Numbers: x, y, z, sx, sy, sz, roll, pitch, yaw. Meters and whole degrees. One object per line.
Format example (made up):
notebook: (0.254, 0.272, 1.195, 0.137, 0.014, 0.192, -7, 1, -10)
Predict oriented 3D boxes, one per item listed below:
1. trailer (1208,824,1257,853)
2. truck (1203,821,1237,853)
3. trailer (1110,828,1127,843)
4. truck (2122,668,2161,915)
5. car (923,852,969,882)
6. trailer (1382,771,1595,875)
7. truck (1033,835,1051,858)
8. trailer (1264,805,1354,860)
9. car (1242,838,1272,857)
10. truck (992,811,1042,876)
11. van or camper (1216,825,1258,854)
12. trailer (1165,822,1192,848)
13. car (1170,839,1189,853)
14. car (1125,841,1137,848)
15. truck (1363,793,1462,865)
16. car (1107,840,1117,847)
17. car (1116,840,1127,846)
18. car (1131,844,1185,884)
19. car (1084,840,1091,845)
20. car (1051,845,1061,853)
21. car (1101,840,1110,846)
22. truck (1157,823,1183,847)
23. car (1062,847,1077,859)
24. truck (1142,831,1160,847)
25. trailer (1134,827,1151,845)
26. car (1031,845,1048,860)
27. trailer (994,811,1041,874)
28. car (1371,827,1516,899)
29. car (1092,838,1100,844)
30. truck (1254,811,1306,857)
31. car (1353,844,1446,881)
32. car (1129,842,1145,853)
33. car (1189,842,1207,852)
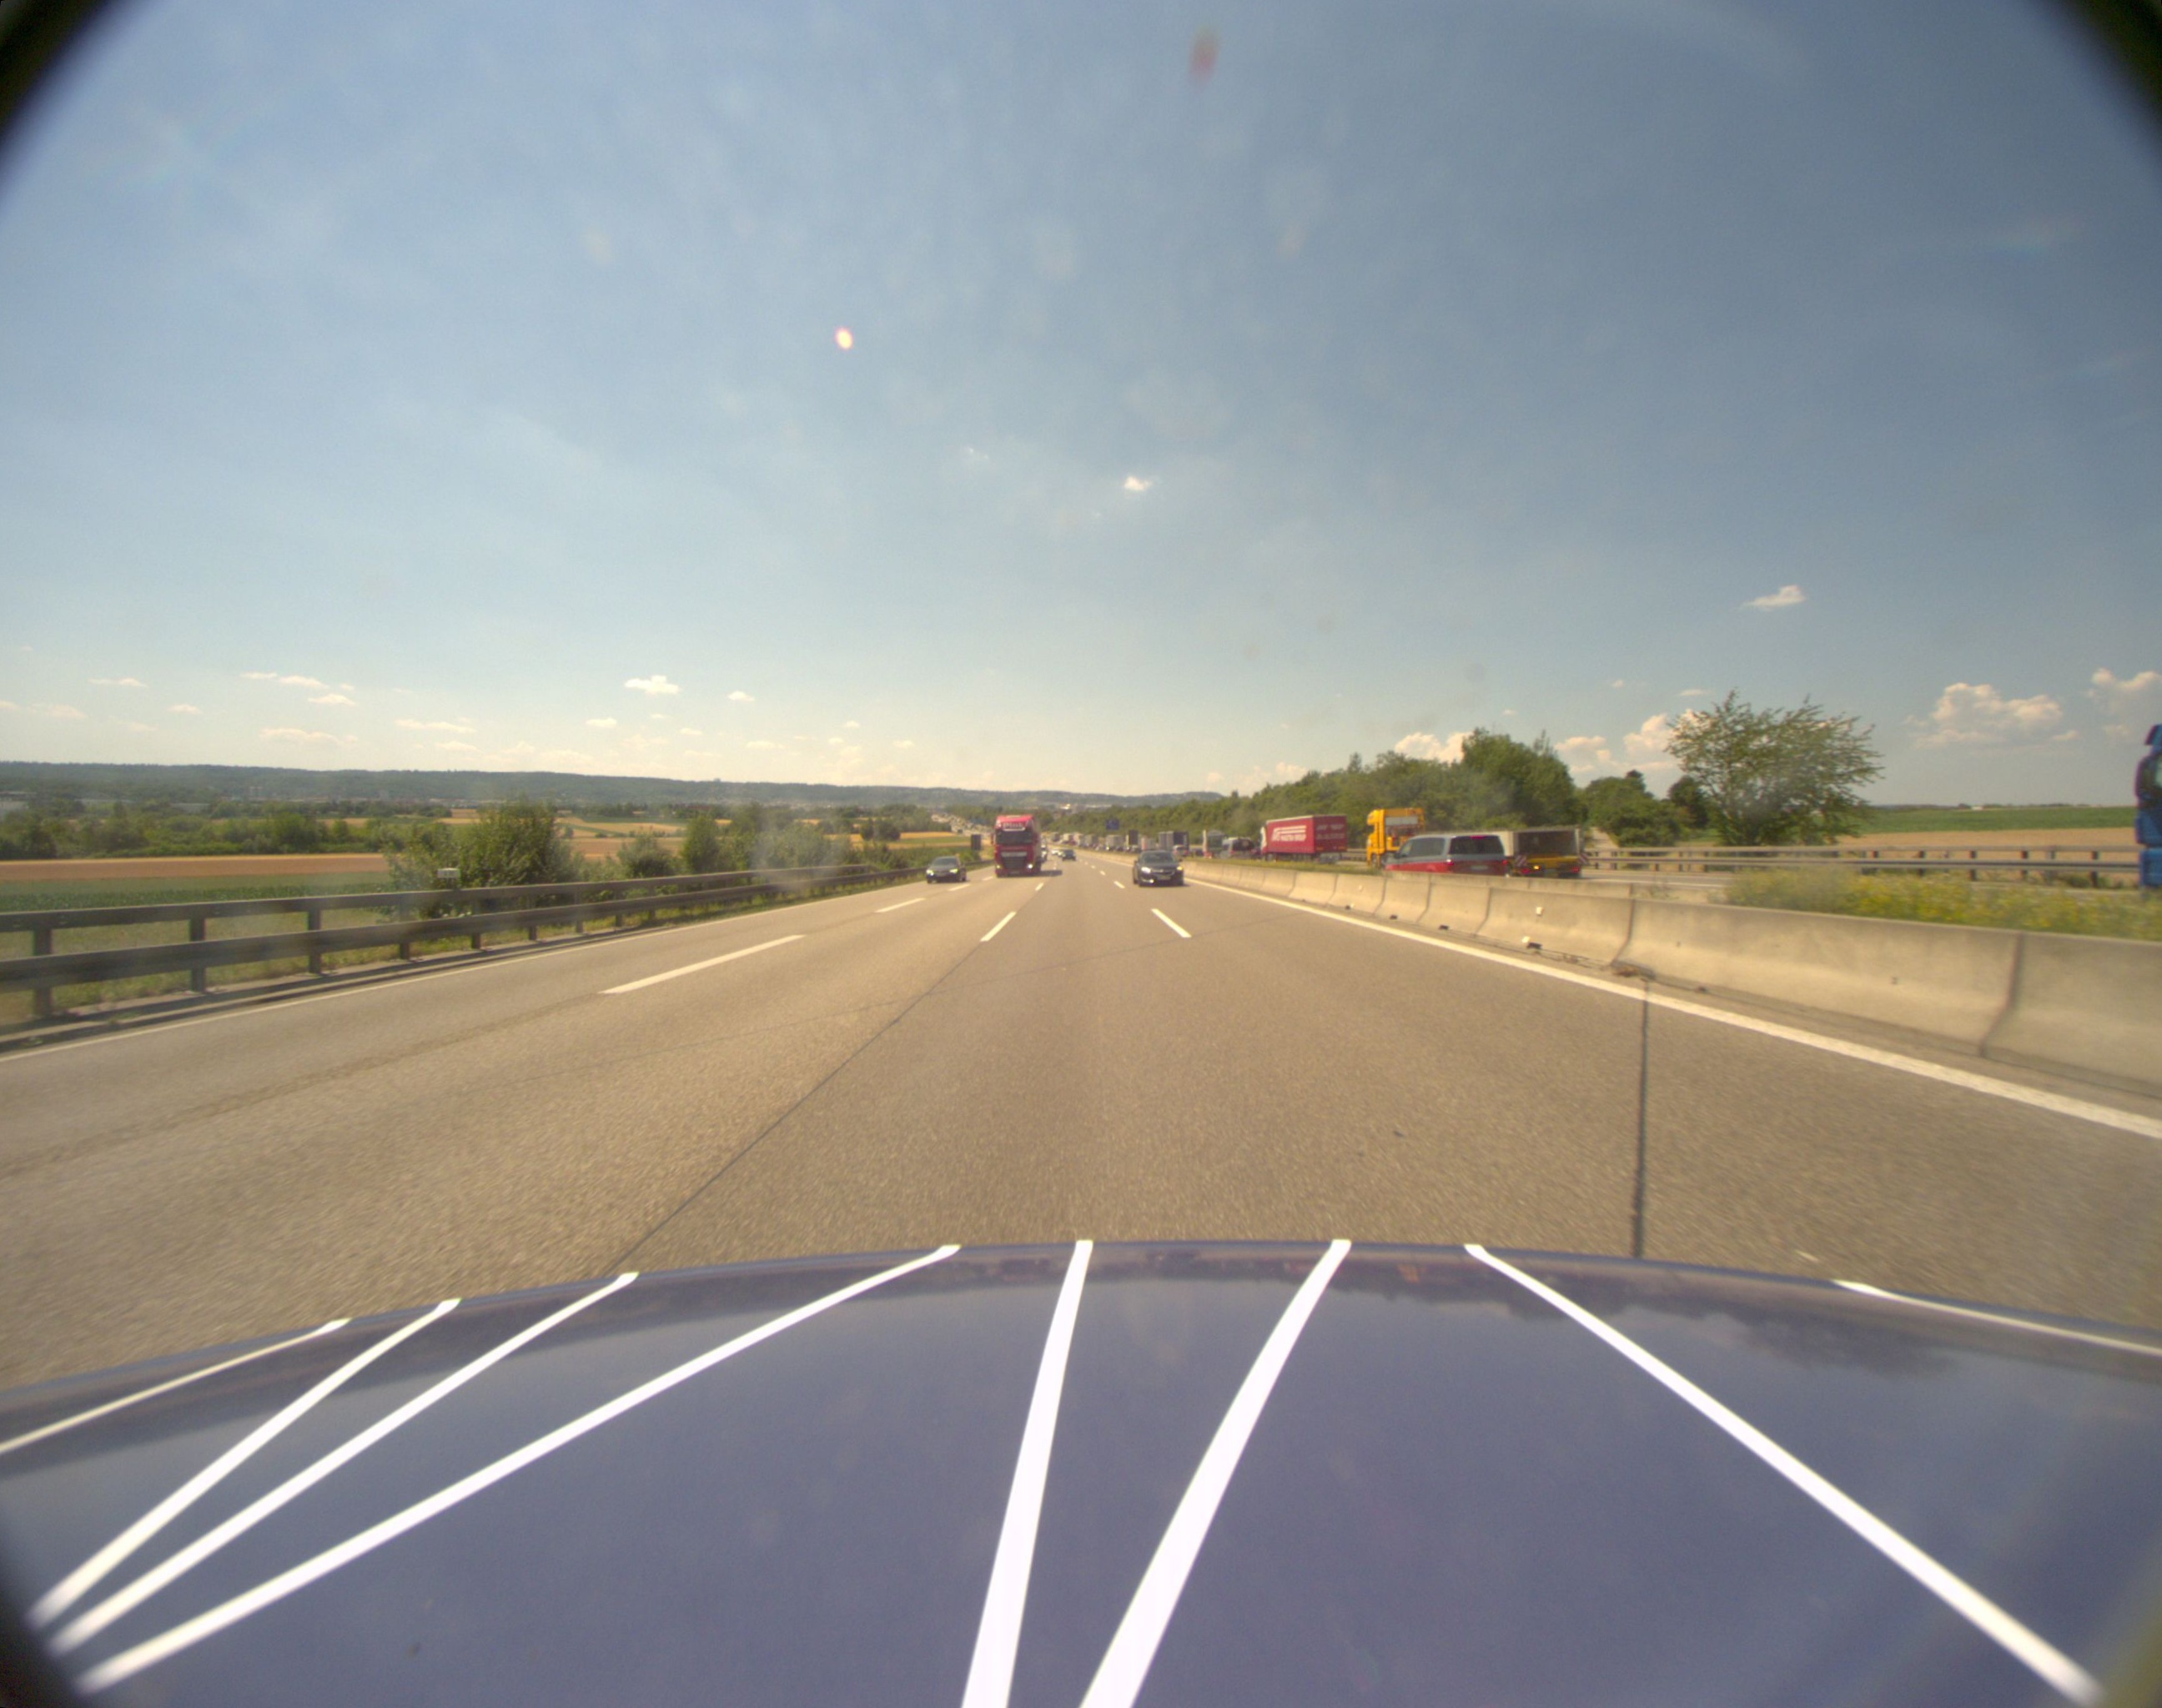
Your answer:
trailer: (18.106, -1.877, 91.749, 2.866, 3.188, 12.777, -2, 1, -2)
truck: (17.907, -2.222, 98.436, 2.909, 3.855, 6.175, -2, 1, -2)
trailer: (10.812, -5.416, 220.814, 2.911, 4.063, 14.434, -2, 2, -4)
truck: (19.355, -1.030, 9.557, 3.083, 4.067, 6.934, -2, 1, 1)
car: (-7.570, 0.691, 42.987, 2.037, 1.543, 3.998, -2, 1, -3)
trailer: (19.297, -1.342, 37.851, 2.960, 4.077, 14.379, -2, 1, 1)
truck: (-5.822, -1.179, 113.220, 2.446, 3.012, 6.910, -2, 3, -4)
trailer: (18.896, -1.744, 64.348, 3.094, 4.077, 14.377, -2, 1, 0)
car: (18.570, -0.710, 80.249, 1.843, 1.622, 4.601, -2, 3, -3)
truck: (-4.178, -0.752, 50.764, 2.924, 3.986, 6.506, -2, 2, -3)
van or camper: (14.625, -1.371, 71.794, 2.317, 2.572, 7.140, -2, 1, -1)
trailer: (16.474, -3.200, 128.892, 2.994, 4.169, 8.591, -2, 1, -2)
car: (13.906, -1.161, 107.533, 1.918, 1.762, 4.760, -2, 1, -3)
car: (10.935, -2.015, 167.286, 1.999, 1.447, 5.167, -2, 1, -3)
truck: (19.435, -1.397, 45.116, 2.757, 3.815, 7.097, -2, 1, 1)
car: (6.974, -2.384, 171.154, 1.843, 1.574, 4.552, -2, 1, -3)
car: (9.820, -2.713, 185.240, 1.999, 1.519, 4.770, -2, 2, -3)
car: (3.216, 0.375, 32.570, 1.807, 1.534, 4.749, -2, 1, 0)
car: (1.930, -3.586, 230.613, 1.999, 1.519, 4.770, -2, 2, -3)
car: (-5.463, -1.023, 165.323, 1.999, 1.468, 3.996, -2, 3, -3)
car: (6.249, -2.748, 193.115, 1.843, 1.278, 4.870, -2, 3, -3)
truck: (16.102, -3.409, 138.580, 3.009, 4.210, 10.728, -2, 1, -2)
car: (-1.655, -0.142, 106.343, 1.866, 1.427, 3.996, -2, 3, -4)
truck: (14.943, -3.264, 163.236, 2.545, 3.189, 7.584, -2, 1, -4)
trailer: (14.370, -4.239, 177.812, 2.928, 4.049, 8.226, -1, 1, -2)
car: (-5.427, -0.187, 97.955, 1.838, 1.636, 4.168, -3, 3, -7)
trailer: (-4.540, -0.968, 57.296, 2.926, 4.095, 13.849, -2, 2, -3)
car: (11.255, 0.203, 24.104, 1.918, 1.959, 5.445, -2, 1, 0)
car: (4.618, -4.148, 235.193, 1.867, 1.633, 5.108, -2, 3, -5)
truck: (18.806, -1.910, 72.101, 3.043, 4.058, 6.313, -2, 1, -1)
car: (14.895, 0.330, 35.961, 1.918, 1.532, 5.741, -2, 1, 0)
car: (9.432, -1.106, 128.229, 2.054, 1.686, 5.253, -2, 1, -3)
car: (17.074, -1.015, 111.438, 1.661, 1.423, 4.646, -2, 2, -3)
